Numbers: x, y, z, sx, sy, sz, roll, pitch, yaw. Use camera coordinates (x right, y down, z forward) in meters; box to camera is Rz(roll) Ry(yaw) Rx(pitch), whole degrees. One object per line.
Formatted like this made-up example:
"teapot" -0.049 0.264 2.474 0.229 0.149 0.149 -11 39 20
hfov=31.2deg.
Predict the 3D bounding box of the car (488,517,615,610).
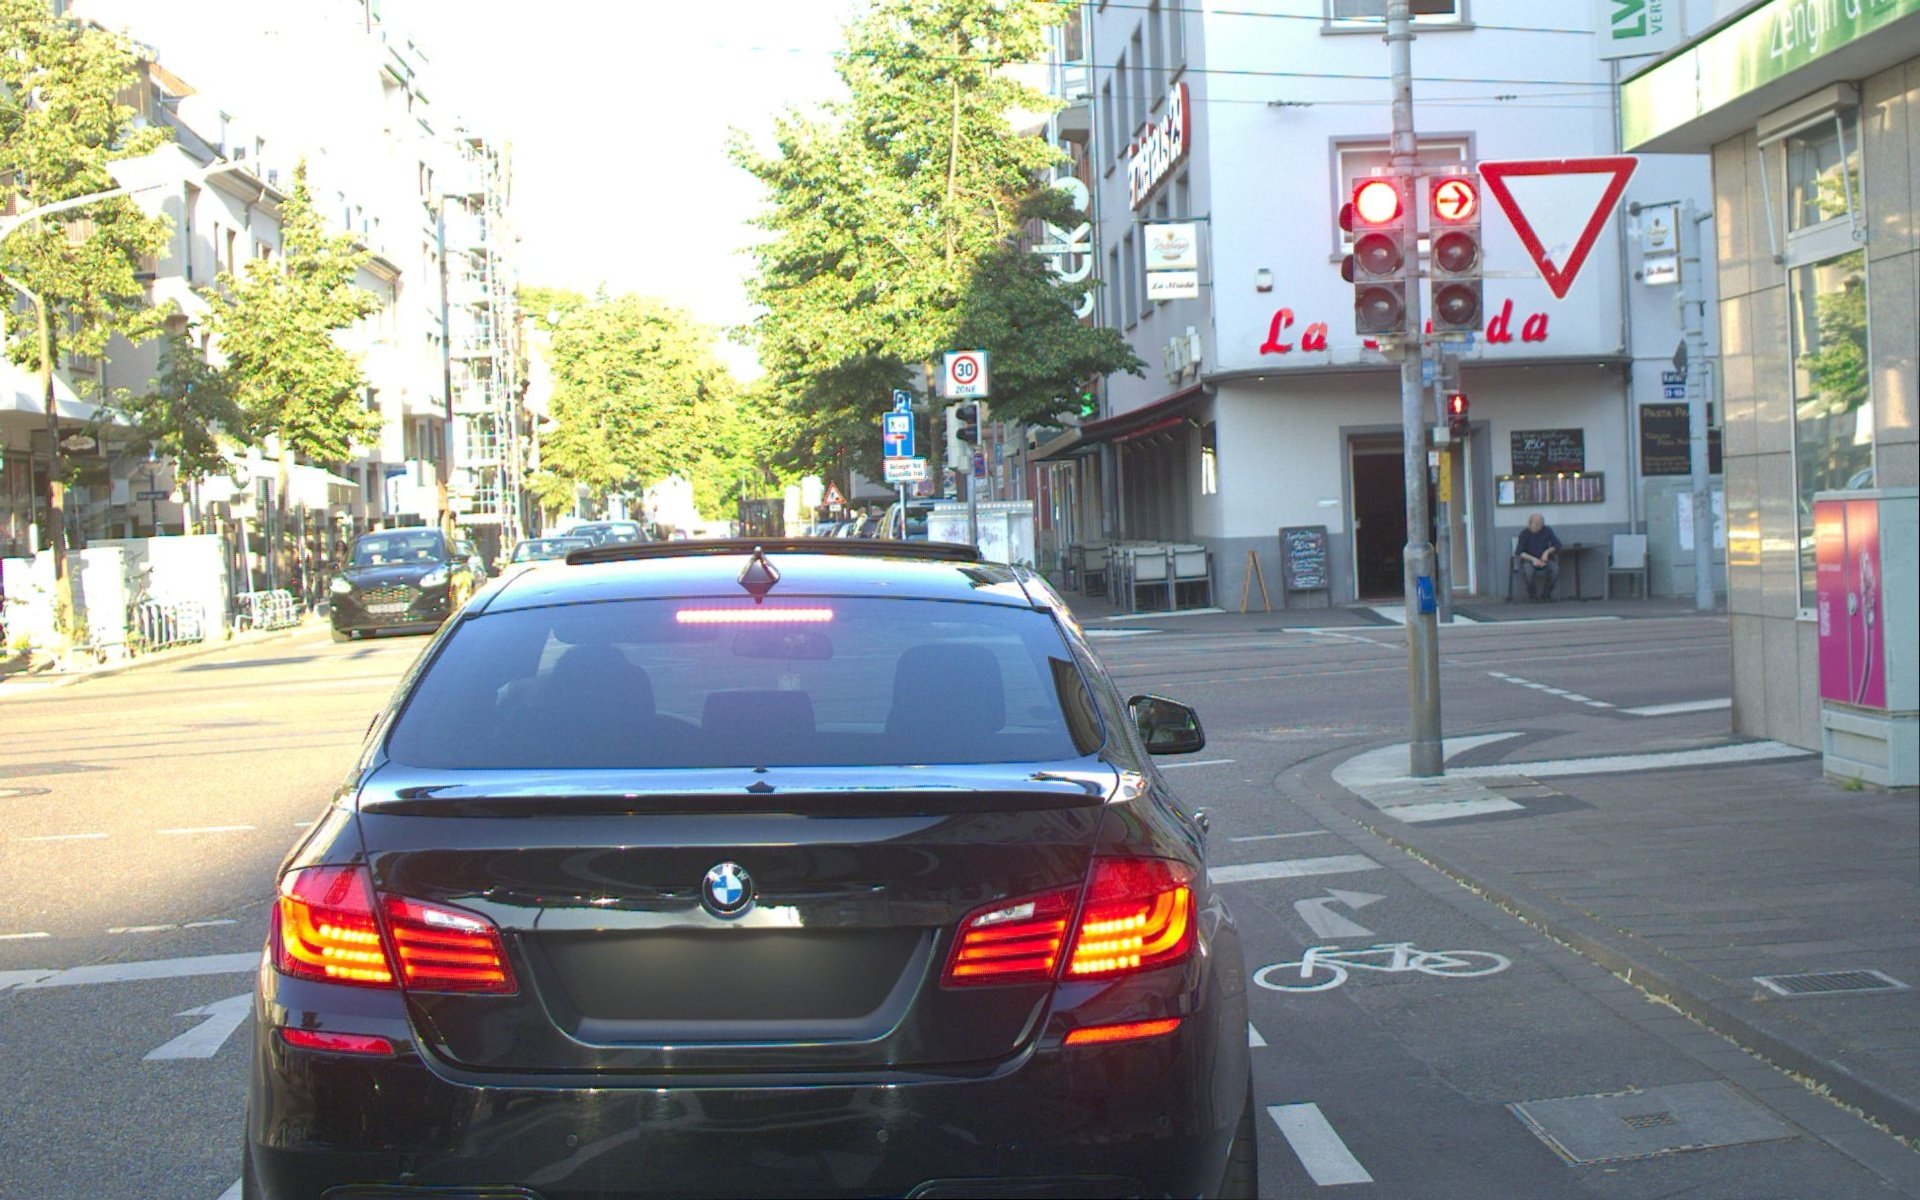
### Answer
"car" -6.873 -0.627 57.667 1.993 1.437 4.001 -2 1 -7

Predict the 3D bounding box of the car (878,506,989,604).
"car" -0.449 -0.717 54.592 1.625 1.466 3.395 -1 1 -2

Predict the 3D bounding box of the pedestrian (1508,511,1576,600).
"pedestrian" 7.836 -0.604 46.319 0.697 1.153 0.844 -2 1 -3

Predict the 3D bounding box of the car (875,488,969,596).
"car" -0.699 -1.022 60.988 1.421 1.848 3.053 -1 1 -5

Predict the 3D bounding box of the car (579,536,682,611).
"car" -6.206 -0.518 64.433 1.733 1.288 4.001 -2 1 -7

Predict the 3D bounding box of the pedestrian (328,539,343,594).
"pedestrian" -15.544 -0.829 85.569 0.306 1.354 0.285 -3 1 -10

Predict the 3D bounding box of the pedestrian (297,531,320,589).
"pedestrian" -16.180 -1.002 85.331 0.444 1.411 0.525 -2 1 -4

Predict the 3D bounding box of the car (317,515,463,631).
"car" -8.619 -0.434 52.233 1.993 1.612 4.001 -2 1 -7

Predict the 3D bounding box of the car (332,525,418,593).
"car" -13.426 -0.965 79.013 1.733 1.456 4.001 -2 1 -7

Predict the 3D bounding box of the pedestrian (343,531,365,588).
"pedestrian" -15.077 -1.010 85.503 0.444 1.411 0.525 -2 1 -4

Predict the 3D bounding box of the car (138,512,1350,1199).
"car" -0.451 0.583 7.664 1.903 1.535 4.450 1 1 -3
